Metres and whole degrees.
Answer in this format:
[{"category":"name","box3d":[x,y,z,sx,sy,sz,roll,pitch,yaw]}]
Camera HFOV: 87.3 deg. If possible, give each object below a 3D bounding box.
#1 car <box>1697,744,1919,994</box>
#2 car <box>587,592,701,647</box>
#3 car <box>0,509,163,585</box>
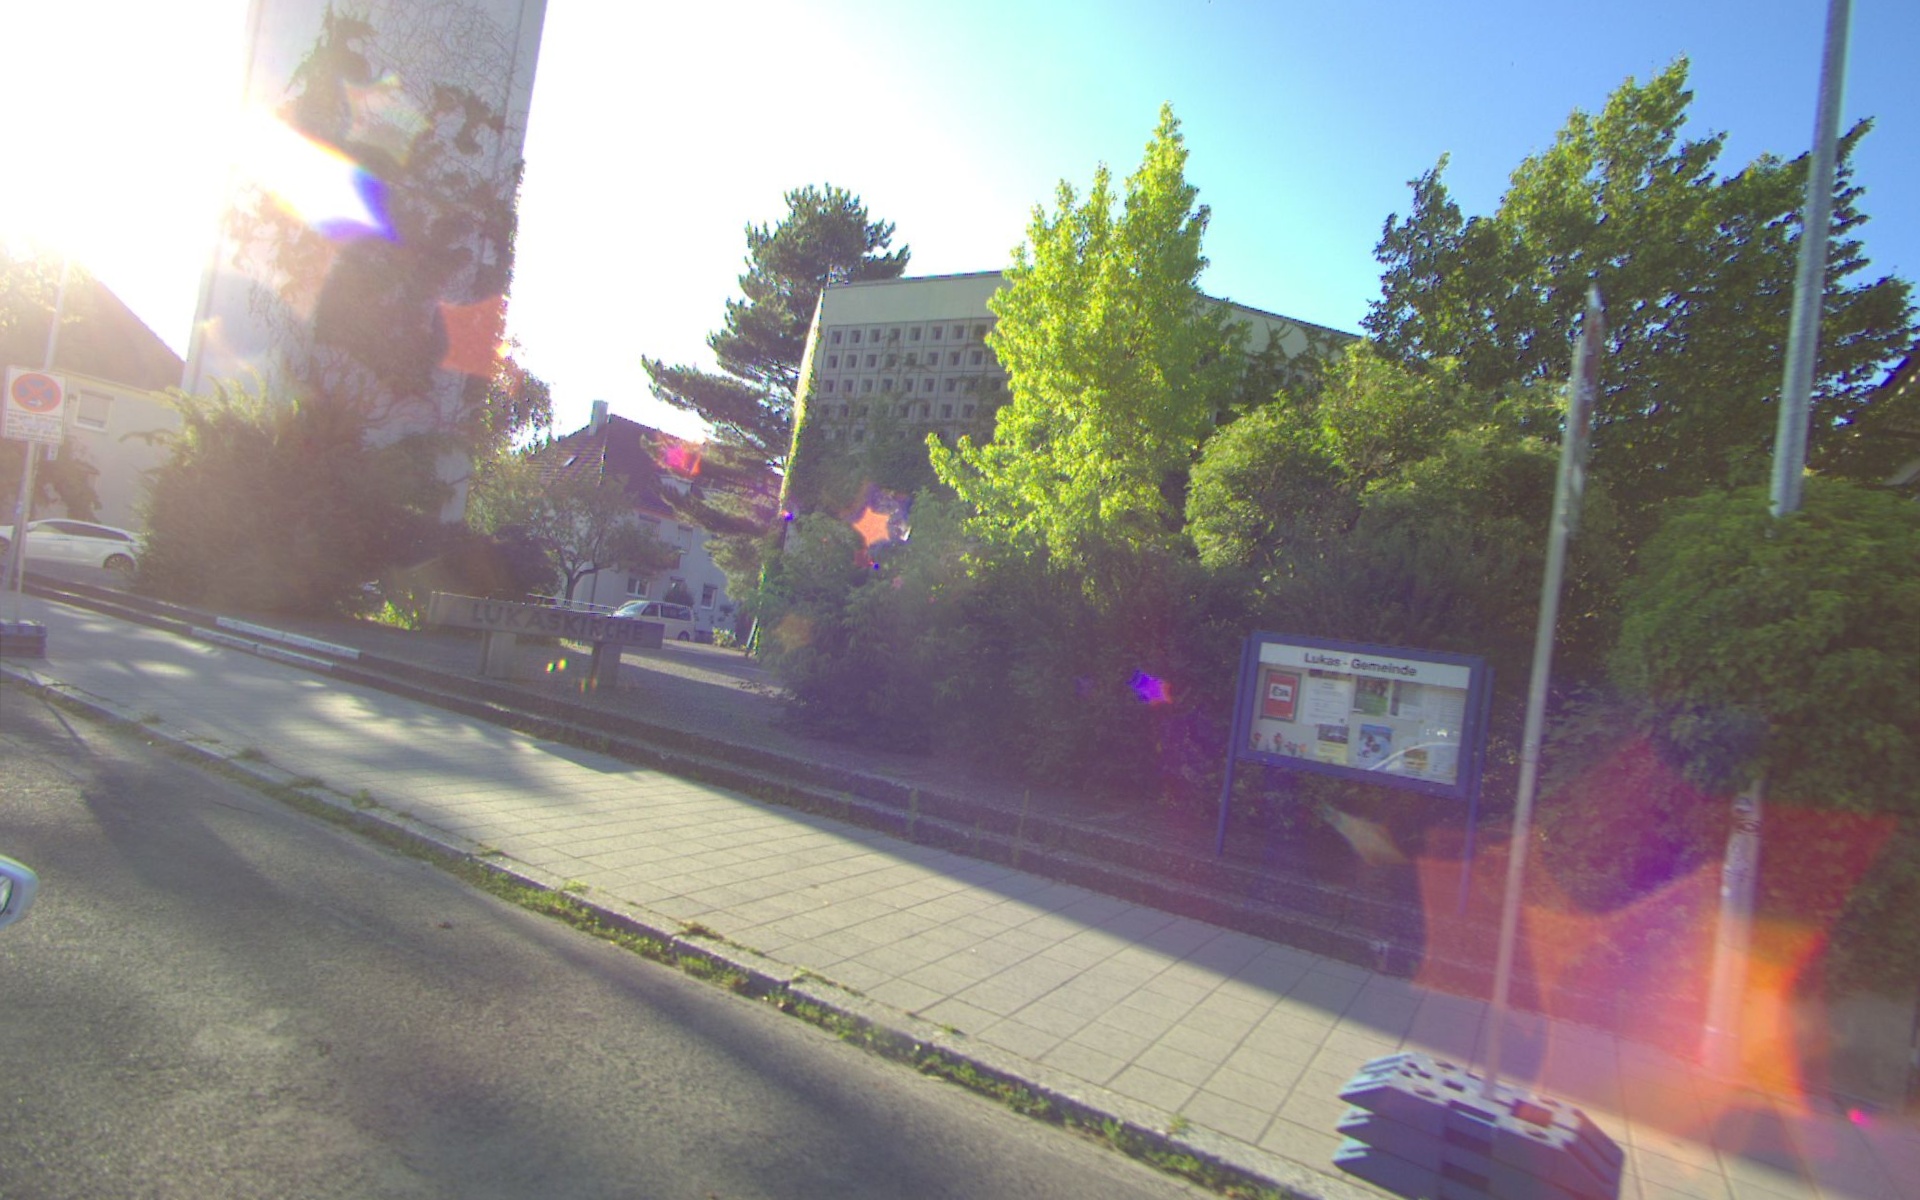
[{"category":"car","box3d":[8.073,2.284,8.971,1.842,1.664,3.999,7,-4,31]},{"category":"car","box3d":[-15.025,0.983,48.100,2.136,1.993,5.021,4,-5,28]},{"category":"car","box3d":[-26.393,-1.581,28.994,1.970,1.500,4.863,3,-7,31]}]
